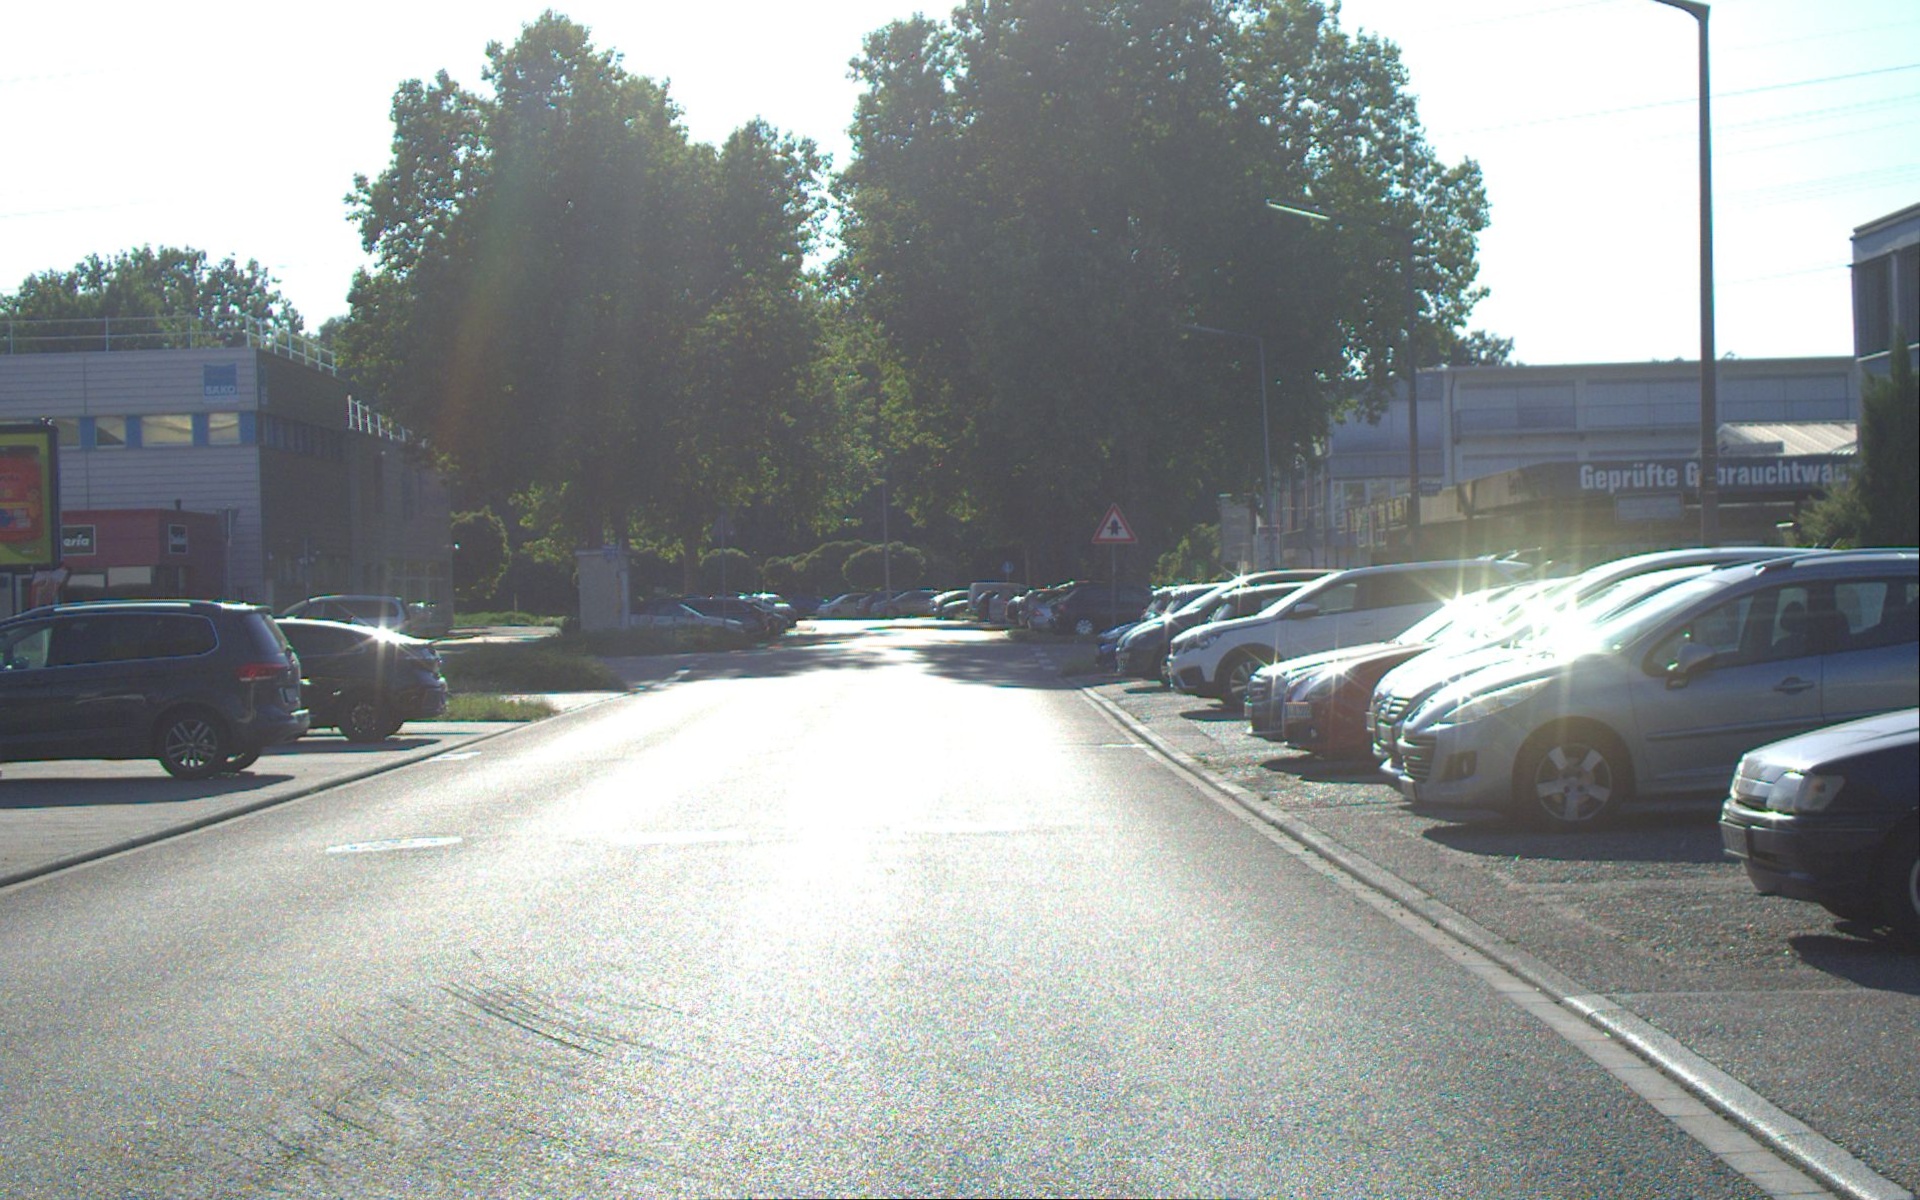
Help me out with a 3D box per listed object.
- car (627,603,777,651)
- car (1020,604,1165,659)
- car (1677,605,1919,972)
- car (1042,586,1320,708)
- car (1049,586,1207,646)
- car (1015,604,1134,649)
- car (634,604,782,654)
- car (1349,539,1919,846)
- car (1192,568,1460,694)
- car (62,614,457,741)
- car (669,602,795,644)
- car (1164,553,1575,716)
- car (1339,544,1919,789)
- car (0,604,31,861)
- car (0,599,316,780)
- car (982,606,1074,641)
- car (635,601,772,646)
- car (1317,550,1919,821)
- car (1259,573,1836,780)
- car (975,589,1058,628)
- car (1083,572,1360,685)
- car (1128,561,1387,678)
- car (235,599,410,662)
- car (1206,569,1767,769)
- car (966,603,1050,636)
[{"bbox_3d":[-7.712,0.811,102.472,4.414,1.398,2.000,0,-1,-5],"label":"car"},{"bbox_3d":[3.740,0.889,97.379,3.987,1.411,1.827,-2,-1,0],"label":"car"},{"bbox_3d":[4.966,0.615,13.320,3.987,1.292,1.784,-3,0,3],"label":"car"},{"bbox_3d":[3.361,0.706,51.815,3.988,1.608,1.999,-3,-1,7],"label":"car"},{"bbox_3d":[4.382,0.421,90.041,3.987,1.411,2.000,-2,-1,0],"label":"car"},{"bbox_3d":[3.935,0.916,118.260,3.987,1.411,1.827,-2,-1,0],"label":"car"},{"bbox_3d":[-7.670,0.875,104.782,4.415,1.512,2.000,0,-1,-1],"label":"car"},{"bbox_3d":[4.487,0.501,20.383,3.986,1.582,1.868,-3,0,-4],"label":"car"},{"bbox_3d":[5.810,0.496,54.903,3.987,1.647,1.801,-5,-1,1],"label":"car"},{"bbox_3d":[-8.249,0.903,40.834,4.313,1.455,2.202,0,-1,-3],"label":"car"},{"bbox_3d":[-8.320,0.853,125.626,4.415,1.512,2.000,0,-1,1],"label":"car"},{"bbox_3d":[4.922,0.420,41.829,4.554,1.592,2.202,-4,-1,-3],"label":"car"},{"bbox_3d":[5.003,0.478,25.367,4.108,1.734,1.884,0,-1,-4],"label":"car"},{"bbox_3d":[-8.314,0.855,21.800,4.302,1.650,2.202,0,-1,-3],"label":"car"},{"bbox_3d":[-8.375,0.830,32.531,4.230,1.650,2.202,0,-1,-3],"label":"car"},{"bbox_3d":[3.021,1.057,152.859,3.987,1.411,1.827,-2,-1,0],"label":"car"},{"bbox_3d":[-8.567,0.786,115.050,4.415,1.512,2.000,0,-1,1],"label":"car"},{"bbox_3d":[4.646,0.544,23.178,4.108,1.612,2.059,-2,0,-4],"label":"car"},{"bbox_3d":[4.654,0.595,27.554,4.241,1.600,1.746,0,-1,-5],"label":"car"},{"bbox_3d":[2.787,0.440,169.020,3.987,1.771,1.827,-2,-1,0],"label":"car"},{"bbox_3d":[4.520,0.498,59.837,4.523,1.667,1.753,-4,0,-3],"label":"car"},{"bbox_3d":[4.919,0.325,57.193,3.987,1.647,1.742,-4,0,-2],"label":"car"},{"bbox_3d":[-17.800,0.848,95.909,4.628,1.735,2.000,0,-1,-16],"label":"car"},{"bbox_3d":[4.473,0.579,29.746,4.437,1.431,2.135,-3,0,-1],"label":"car"},{"bbox_3d":[2.299,0.943,165.561,3.987,1.411,1.827,-2,-1,0],"label":"car"}]
